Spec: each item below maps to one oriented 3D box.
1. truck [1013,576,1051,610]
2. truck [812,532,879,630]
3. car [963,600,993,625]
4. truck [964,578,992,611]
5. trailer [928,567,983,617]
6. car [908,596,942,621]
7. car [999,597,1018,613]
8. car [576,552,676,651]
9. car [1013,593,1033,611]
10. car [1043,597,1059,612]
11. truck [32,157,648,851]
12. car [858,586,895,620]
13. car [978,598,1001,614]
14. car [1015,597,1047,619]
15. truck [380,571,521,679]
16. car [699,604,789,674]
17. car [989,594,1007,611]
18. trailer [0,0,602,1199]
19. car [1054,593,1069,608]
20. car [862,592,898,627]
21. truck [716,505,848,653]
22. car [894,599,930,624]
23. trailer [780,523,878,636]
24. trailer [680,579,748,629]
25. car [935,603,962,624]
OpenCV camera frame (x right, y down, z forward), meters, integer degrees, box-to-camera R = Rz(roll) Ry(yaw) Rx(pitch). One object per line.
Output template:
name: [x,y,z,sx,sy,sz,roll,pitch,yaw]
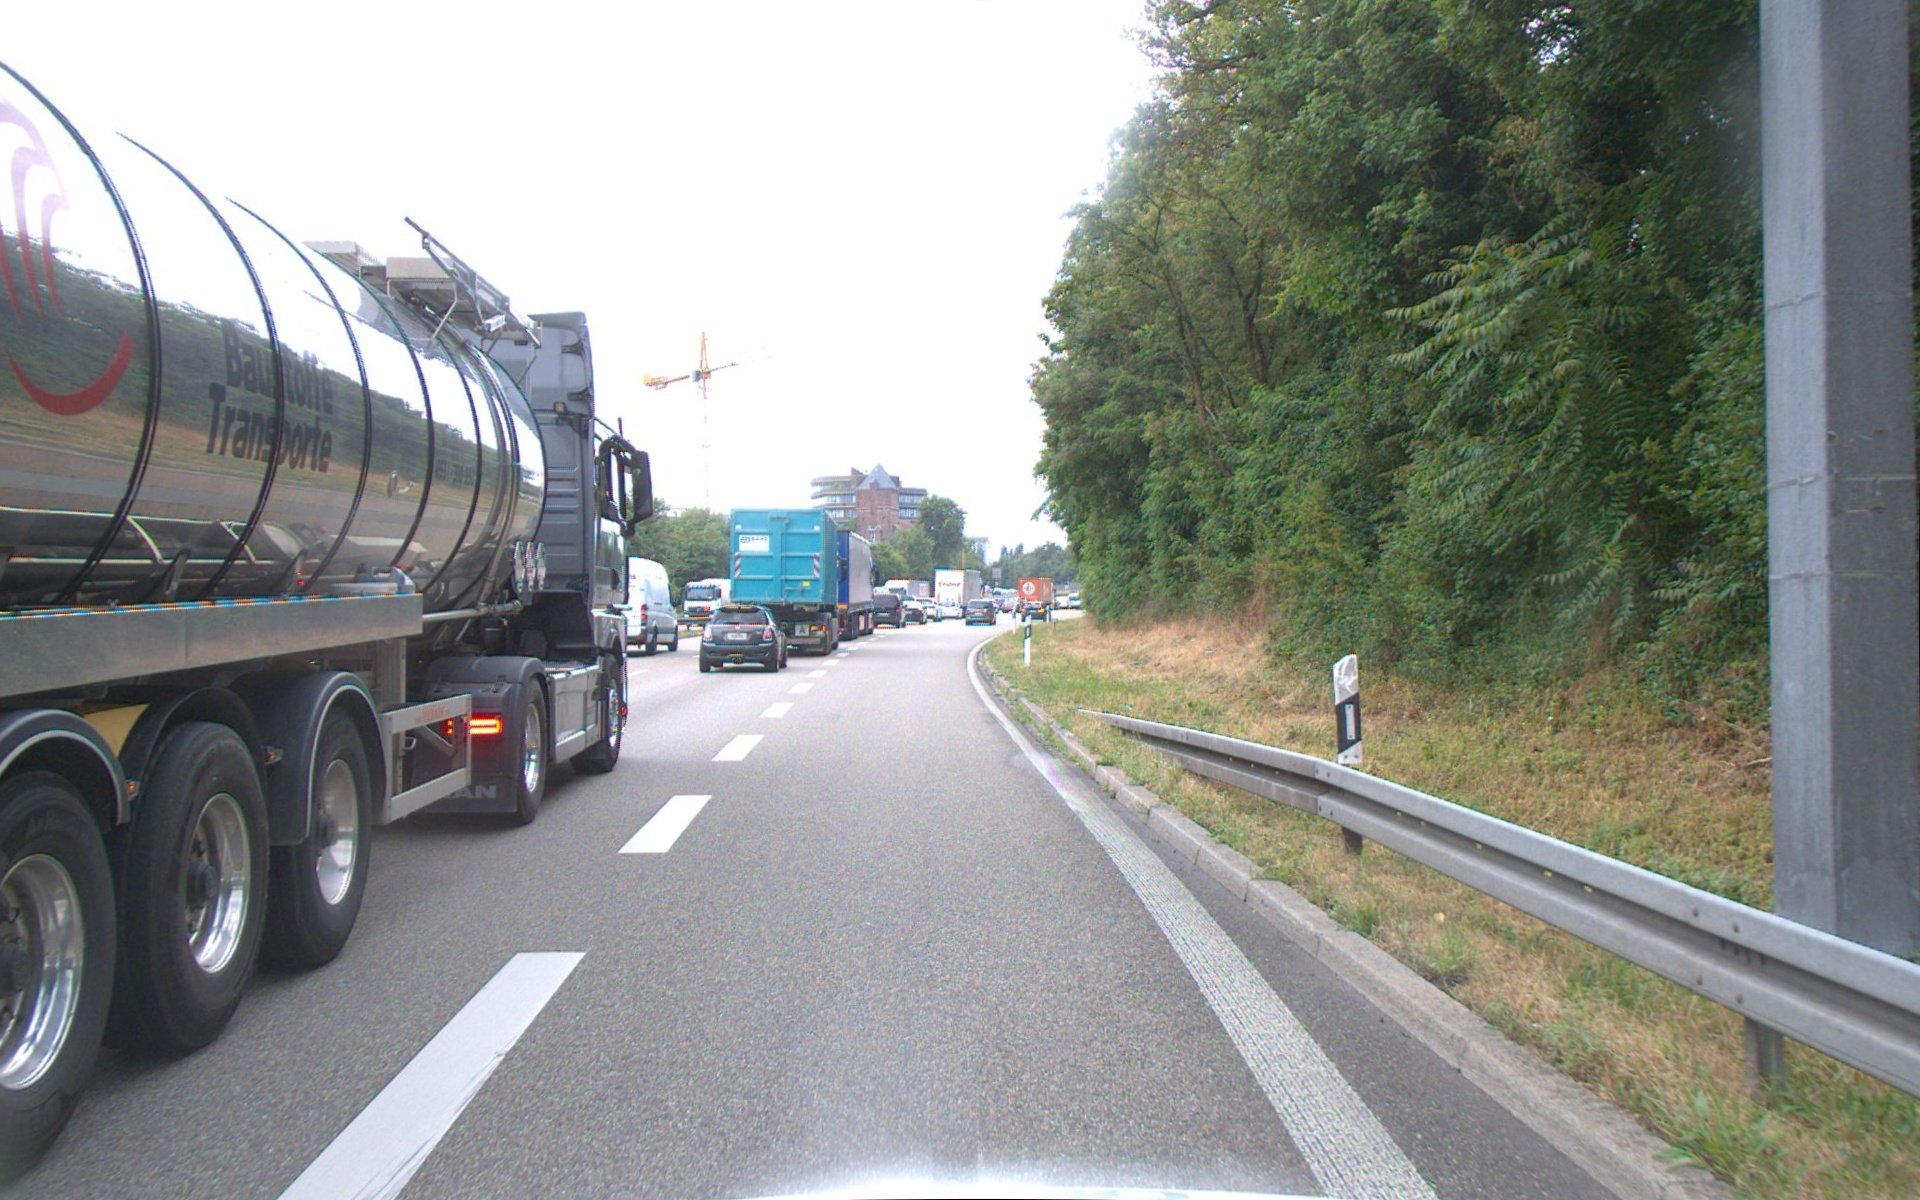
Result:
truck: [9.257,-0.891,210.562,3.415,4.144,13.603,-1,0,9]
truck: [-5.028,-0.781,73.606,2.508,4.113,6.589,0,-1,0]
car: [1.153,0.784,105.413,1.787,1.508,4.001,-1,0,2]
truck: [2.430,-0.702,219.019,2.680,4.211,10.704,0,-1,6]
trailer: [-0.292,-0.566,143.055,3.228,4.107,13.106,0,-1,6]
car: [-2.499,0.594,119.152,1.915,1.724,4.869,-1,0,5]
car: [5.346,0.602,181.844,1.680,1.713,4.003,0,-1,8]
car: [-9.450,0.075,47.326,2.179,2.623,6.788,1,-1,-6]
car: [7.568,0.234,198.928,1.951,2.049,4.003,-1,0,7]
car: [12.482,0.601,226.615,1.580,1.982,3.708,0,-1,11]
truck: [-4.224,-0.573,13.034,2.630,3.975,6.929,-1,0,-4]
car: [-6.527,0.238,129.226,1.951,2.598,5.366,-1,0,7]
car: [3.010,0.604,167.994,1.761,1.632,4.261,-1,0,8]
car: [5.151,0.568,119.774,1.786,1.508,4.003,-1,0,10]
truck: [-10.463,0.488,34.268,1.955,2.049,3.996,-1,0,-5]
car: [-4.783,0.833,37.006,1.713,1.447,3.662,-1,0,-3]
car: [4.854,0.287,210.792,1.779,2.049,4.003,-1,0,7]
trailer: [-3.734,-0.518,7.307,2.630,3.975,10.977,-1,0,-4]
car: [14.655,0.095,238.469,1.580,2.049,4.004,-1,0,11]
car: [-4.525,0.529,93.980,1.948,1.931,4.982,-1,0,-3]
truck: [-5.105,-0.560,49.473,2.870,3.863,11.328,-1,0,-1]
car: [-3.059,0.724,106.322,1.808,1.485,4.834,-1,0,4]
trailer: [-5.116,-0.689,67.190,2.572,4.093,13.465,0,-1,1]
trailer: [-17.911,0.281,121.256,2.418,3.455,12.467,-1,0,3]
car: [-0.896,1.052,130.151,1.727,1.504,4.091,-2,0,4]
